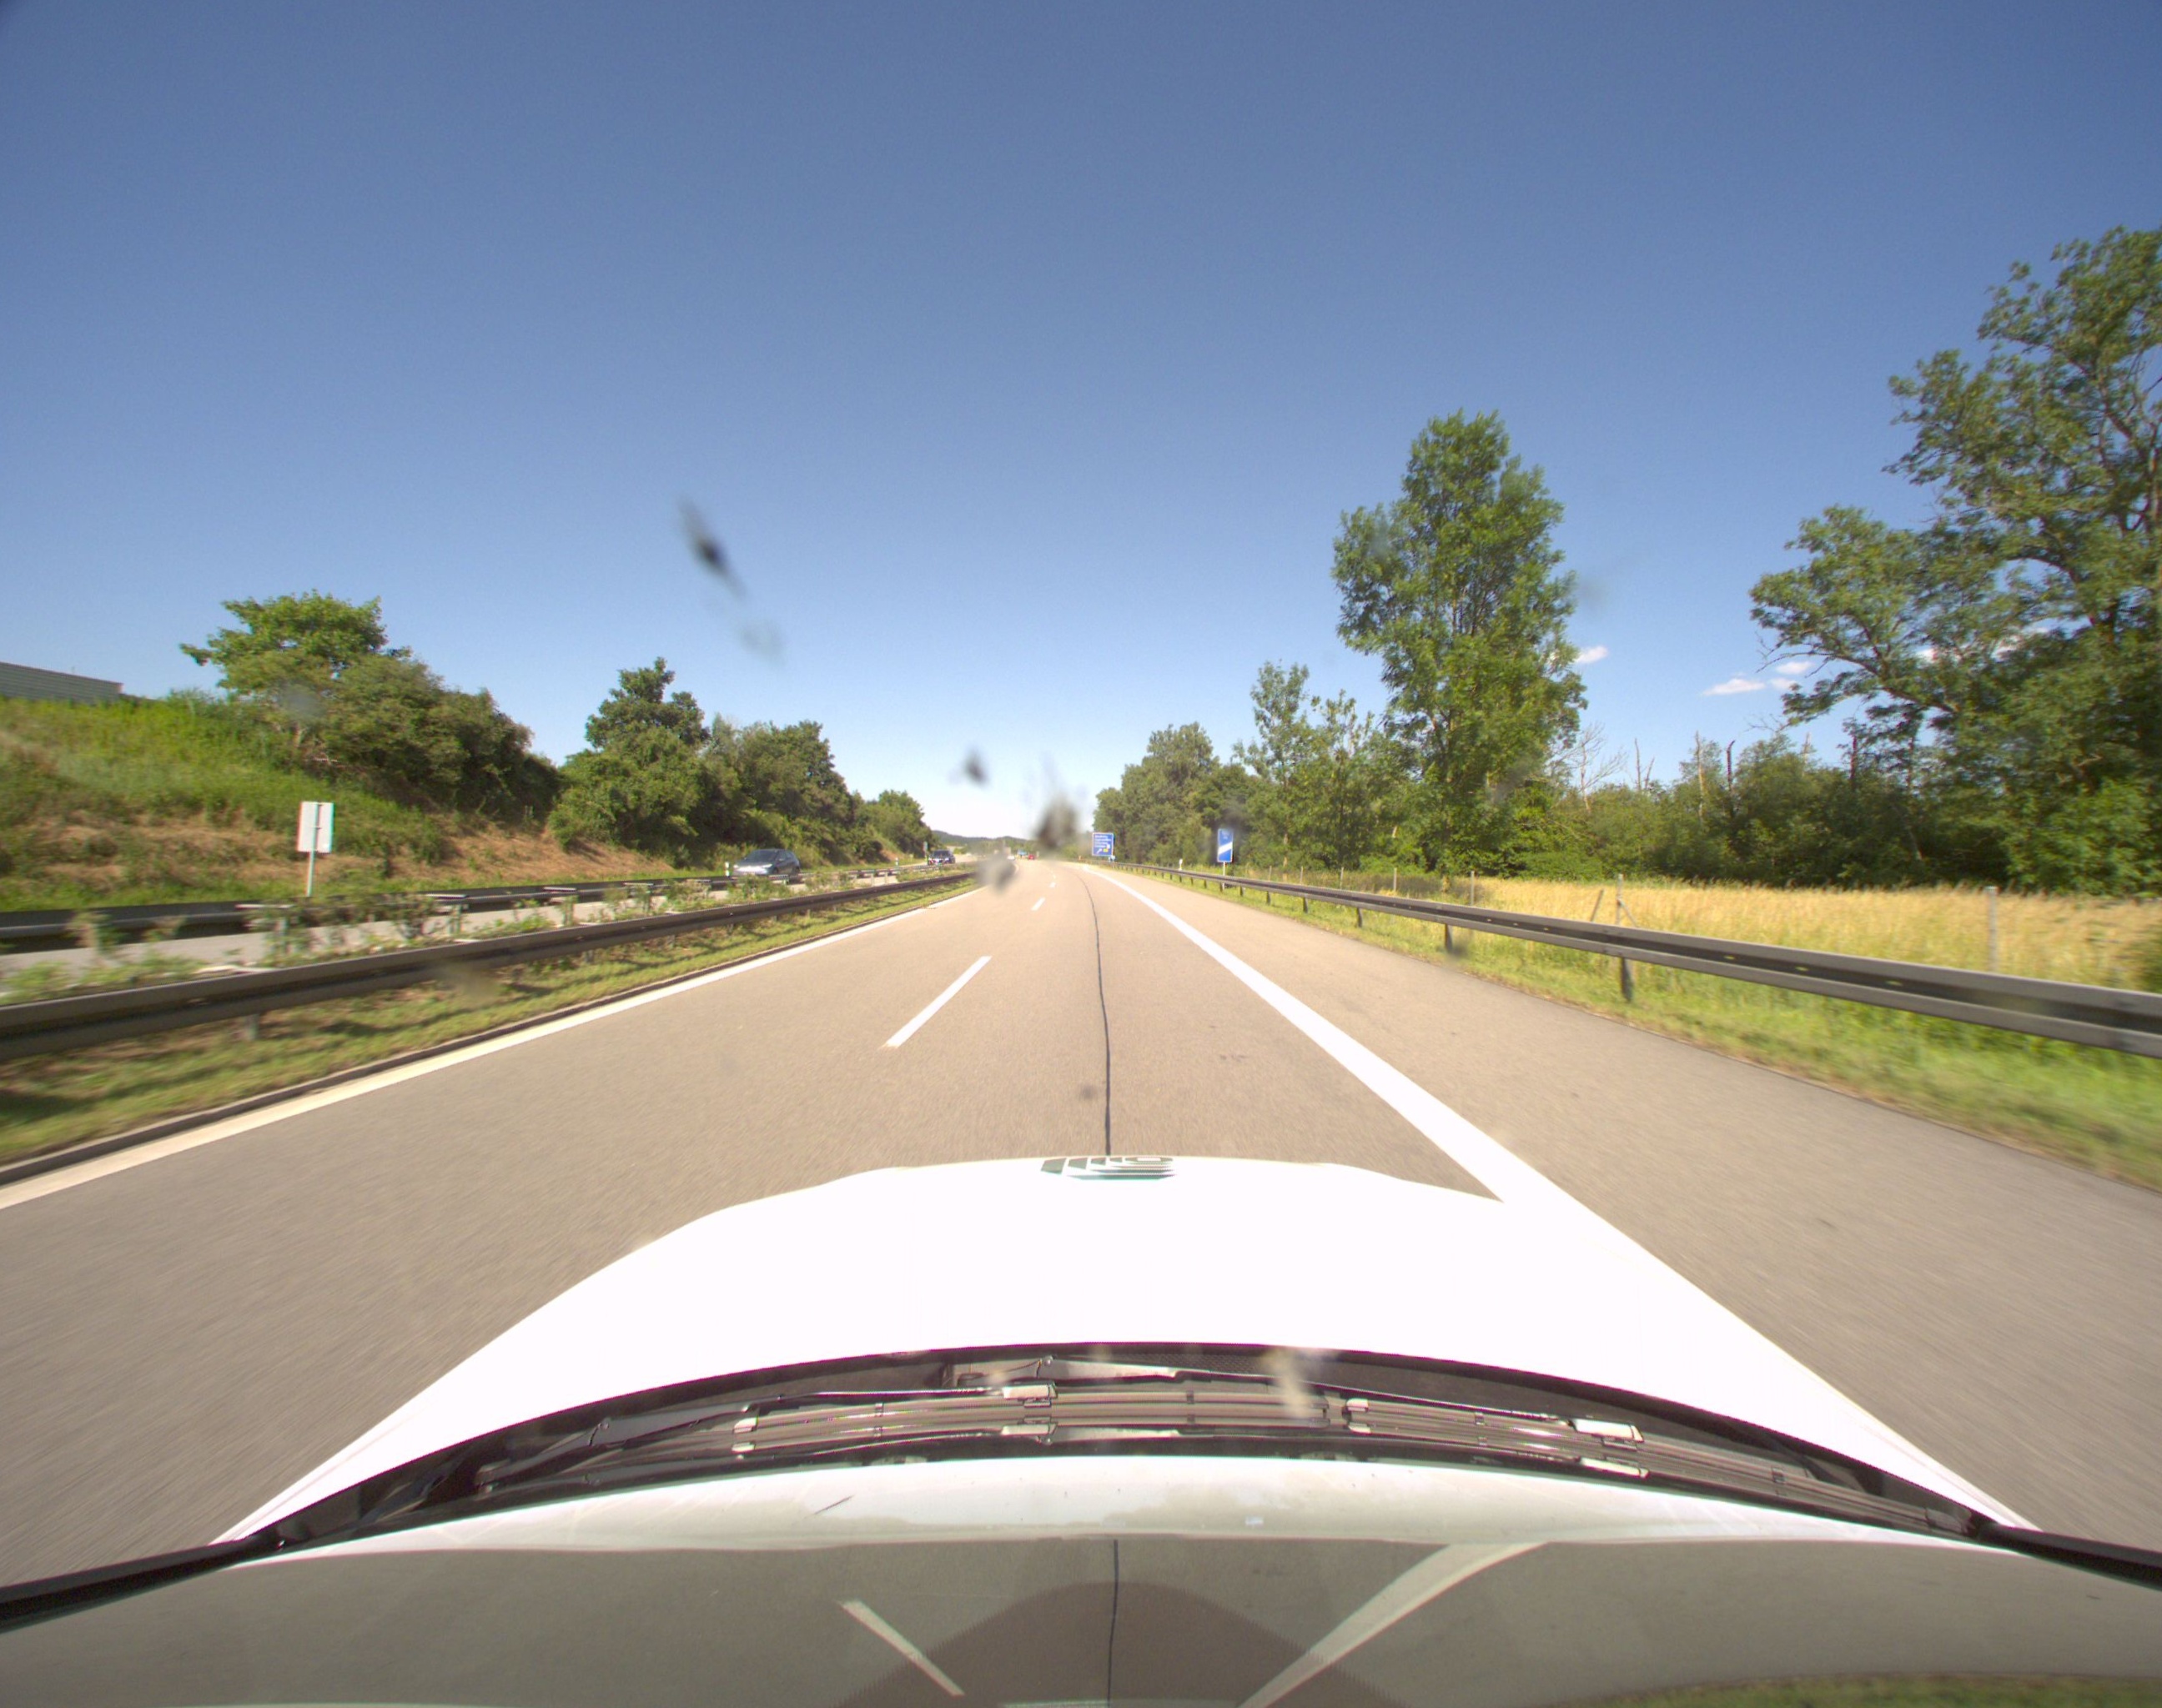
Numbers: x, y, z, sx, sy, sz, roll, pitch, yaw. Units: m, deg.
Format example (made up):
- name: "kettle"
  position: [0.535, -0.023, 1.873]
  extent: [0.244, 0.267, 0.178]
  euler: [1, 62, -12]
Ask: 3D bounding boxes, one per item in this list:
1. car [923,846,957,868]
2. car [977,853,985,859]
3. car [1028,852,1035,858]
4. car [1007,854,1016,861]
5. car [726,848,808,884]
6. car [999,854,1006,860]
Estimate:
- name: "car"
  position: [-11.795, 0.251, 68.334]
  extent: [2.062, 1.679, 4.885]
  euler: [-1, 0, -1]
- name: "car"
  position: [-26.460, 0.606, 215.460]
  extent: [1.642, 1.455, 4.899]
  euler: [0, -1, -4]
- name: "car"
  position: [-13.493, 0.407, 223.261]
  extent: [1.780, 1.431, 3.995]
  euler: [5, -1, -3]
- name: "car"
  position: [-17.196, 0.861, 200.494]
  extent: [2.060, 1.625, 3.988]
  euler: [1, -2, -8]
- name: "car"
  position: [-13.895, 0.529, 36.368]
  extent: [1.813, 1.480, 4.685]
  euler: [0, 0, 0]
- name: "car"
  position: [-23.270, 1.003, 242.363]
  extent: [1.992, 1.750, 3.989]
  euler: [0, 0, -8]
